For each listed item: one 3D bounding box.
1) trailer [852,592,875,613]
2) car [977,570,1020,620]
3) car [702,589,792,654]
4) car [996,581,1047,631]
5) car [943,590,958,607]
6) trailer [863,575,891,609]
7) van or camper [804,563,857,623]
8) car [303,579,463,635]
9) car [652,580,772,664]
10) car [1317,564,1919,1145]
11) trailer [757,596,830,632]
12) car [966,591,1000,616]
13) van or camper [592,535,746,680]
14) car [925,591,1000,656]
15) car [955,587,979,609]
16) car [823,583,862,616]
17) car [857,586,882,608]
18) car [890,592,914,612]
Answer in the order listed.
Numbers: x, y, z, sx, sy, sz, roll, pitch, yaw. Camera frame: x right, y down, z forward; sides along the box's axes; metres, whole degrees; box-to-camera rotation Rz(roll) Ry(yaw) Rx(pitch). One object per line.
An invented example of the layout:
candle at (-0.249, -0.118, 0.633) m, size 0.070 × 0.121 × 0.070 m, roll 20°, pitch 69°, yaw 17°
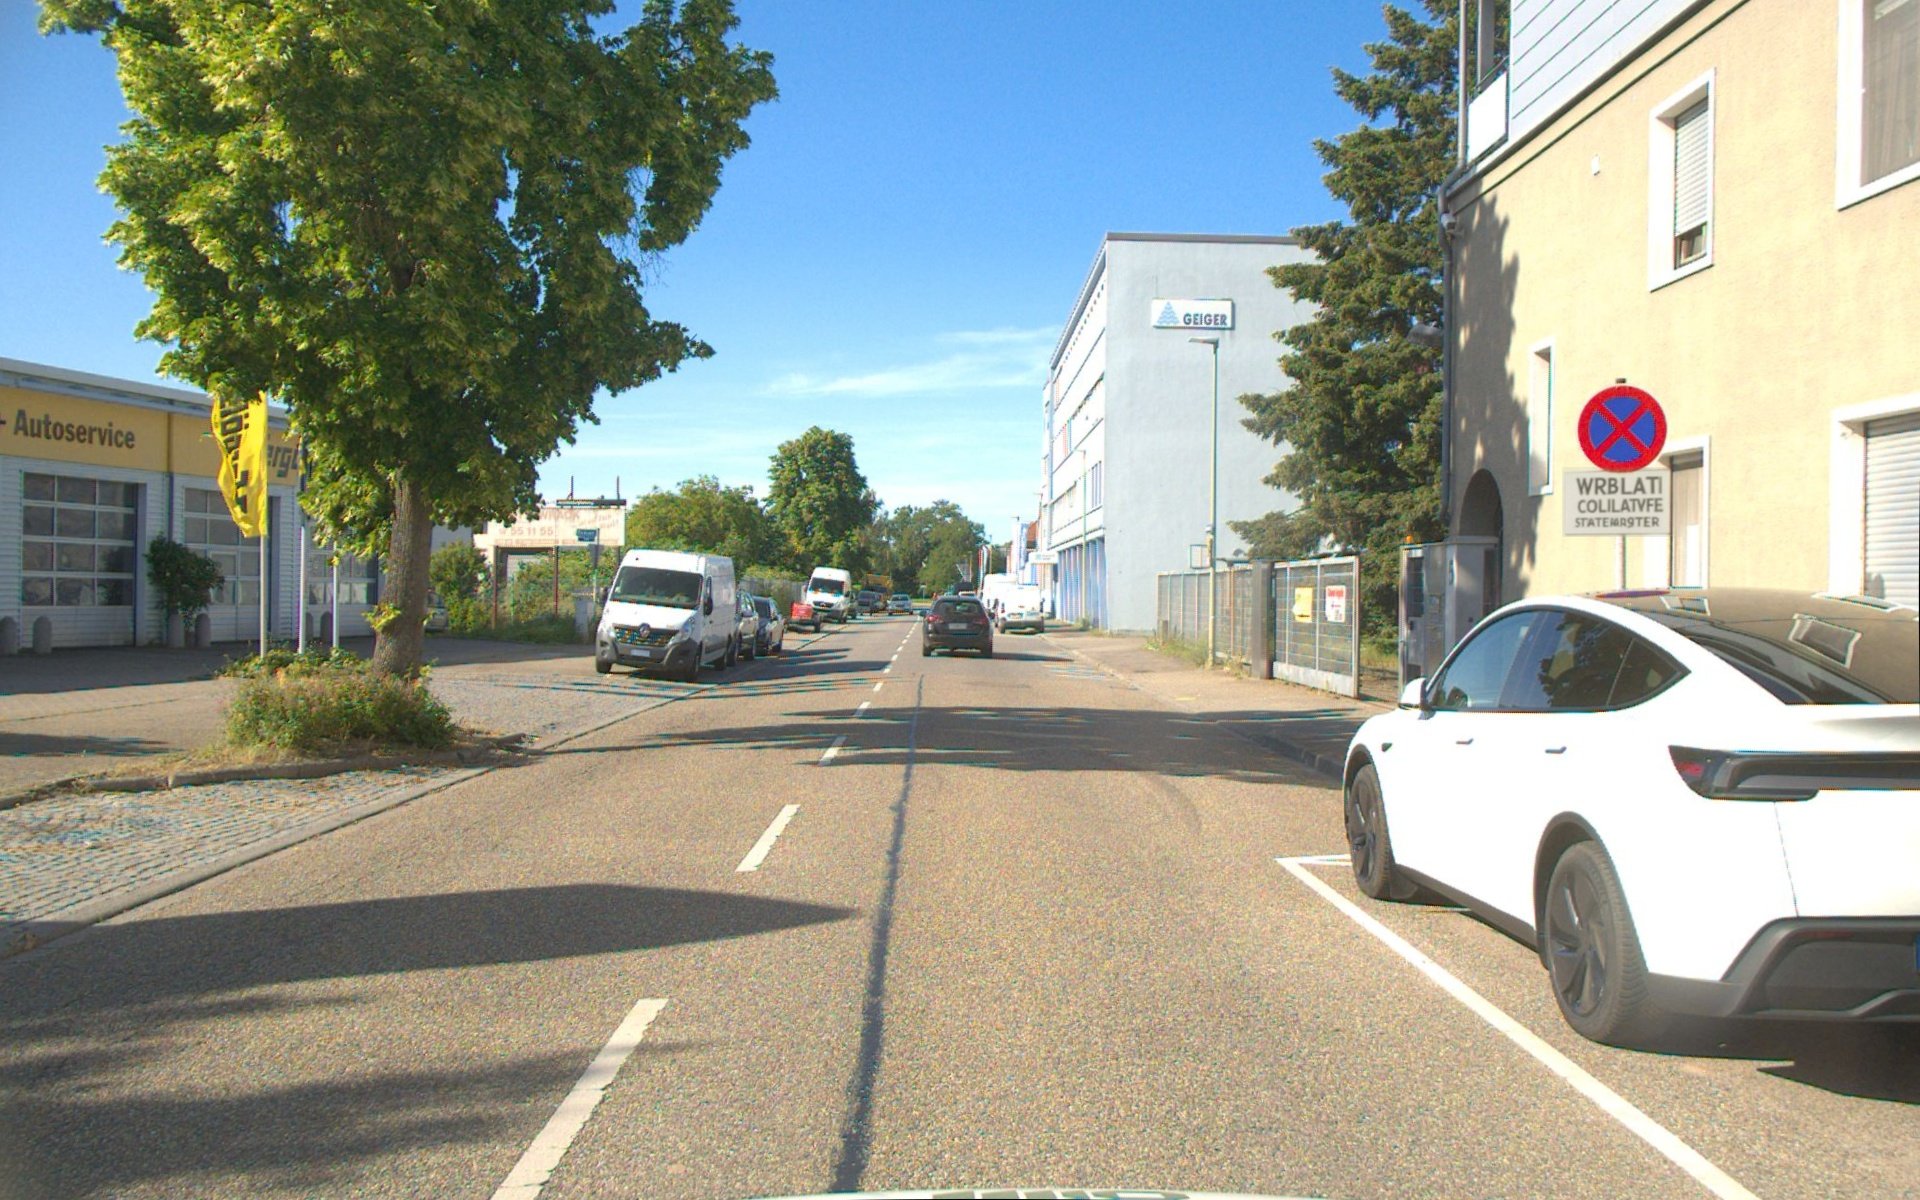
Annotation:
trailer at (-6.876, 0.173, 117.837) m, size 1.447 × 1.378 × 3.078 m, roll 2°, pitch 0°, yaw -1°
car at (2.103, -0.312, 92.209) m, size 1.953 × 2.643 × 6.048 m, roll -1°, pitch 1°, yaw -2°
car at (-5.787, 0.543, 45.418) m, size 1.763 × 1.536 × 5.002 m, roll 4°, pitch 0°, yaw -1°
car at (2.421, 0.223, 66.380) m, size 1.850 × 1.864 × 5.090 m, roll 1°, pitch 0°, yaw 0°
car at (-1.258, -0.180, 214.571) m, size 1.836 × 2.049 × 5.159 m, roll 2°, pitch 0°, yaw -1°
trailer at (-8.837, -0.874, 176.876) m, size 2.931 × 3.503 × 8.157 m, roll 1°, pitch 0°, yaw -2°
van or camper at (-6.472, -0.378, 83.358) m, size 1.926 × 2.731 × 5.948 m, roll 6°, pitch 0°, yaw 0°
car at (-17.221, 0.201, 49.437) m, size 4.069 × 1.601 × 1.918 m, roll 1°, pitch 0°, yaw 9°
car at (-5.928, 0.485, 40.133) m, size 1.952 × 1.768 × 4.576 m, roll 4°, pitch 0°, yaw 2°
car at (3.106, 0.720, 7.198) m, size 1.893 × 1.673 × 4.767 m, roll 0°, pitch 0°, yaw -3°
trailer at (-6.444, 0.514, 64.723) m, size 2.328 × 1.098 × 6.244 m, roll 4°, pitch 1°, yaw -2°
car at (1.408, 0.222, 103.762) m, size 1.856 × 1.430 × 5.122 m, roll 2°, pitch 0°, yaw -2°
van or camper at (-5.934, 0.115, 34.581) m, size 2.029 × 2.593 × 6.402 m, roll 4°, pitch 0°, yaw -1°
car at (0.037, 0.565, 41.762) m, size 1.809 × 1.557 × 4.000 m, roll 0°, pitch 0°, yaw -1°
car at (0.628, -0.173, 148.100) m, size 1.848 × 1.829 × 5.101 m, roll 2°, pitch 0°, yaw -2°
car at (-6.844, -0.041, 96.608) m, size 1.990 × 1.723 × 5.104 m, roll 5°, pitch 0°, yaw -3°
car at (-7.458, -0.246, 136.254) m, size 1.755 × 1.761 × 4.802 m, roll 0°, pitch 0°, yaw 0°
car at (-4.290, 0.142, 122.200) m, size 1.711 × 1.473 × 4.359 m, roll 1°, pitch 0°, yaw -1°
